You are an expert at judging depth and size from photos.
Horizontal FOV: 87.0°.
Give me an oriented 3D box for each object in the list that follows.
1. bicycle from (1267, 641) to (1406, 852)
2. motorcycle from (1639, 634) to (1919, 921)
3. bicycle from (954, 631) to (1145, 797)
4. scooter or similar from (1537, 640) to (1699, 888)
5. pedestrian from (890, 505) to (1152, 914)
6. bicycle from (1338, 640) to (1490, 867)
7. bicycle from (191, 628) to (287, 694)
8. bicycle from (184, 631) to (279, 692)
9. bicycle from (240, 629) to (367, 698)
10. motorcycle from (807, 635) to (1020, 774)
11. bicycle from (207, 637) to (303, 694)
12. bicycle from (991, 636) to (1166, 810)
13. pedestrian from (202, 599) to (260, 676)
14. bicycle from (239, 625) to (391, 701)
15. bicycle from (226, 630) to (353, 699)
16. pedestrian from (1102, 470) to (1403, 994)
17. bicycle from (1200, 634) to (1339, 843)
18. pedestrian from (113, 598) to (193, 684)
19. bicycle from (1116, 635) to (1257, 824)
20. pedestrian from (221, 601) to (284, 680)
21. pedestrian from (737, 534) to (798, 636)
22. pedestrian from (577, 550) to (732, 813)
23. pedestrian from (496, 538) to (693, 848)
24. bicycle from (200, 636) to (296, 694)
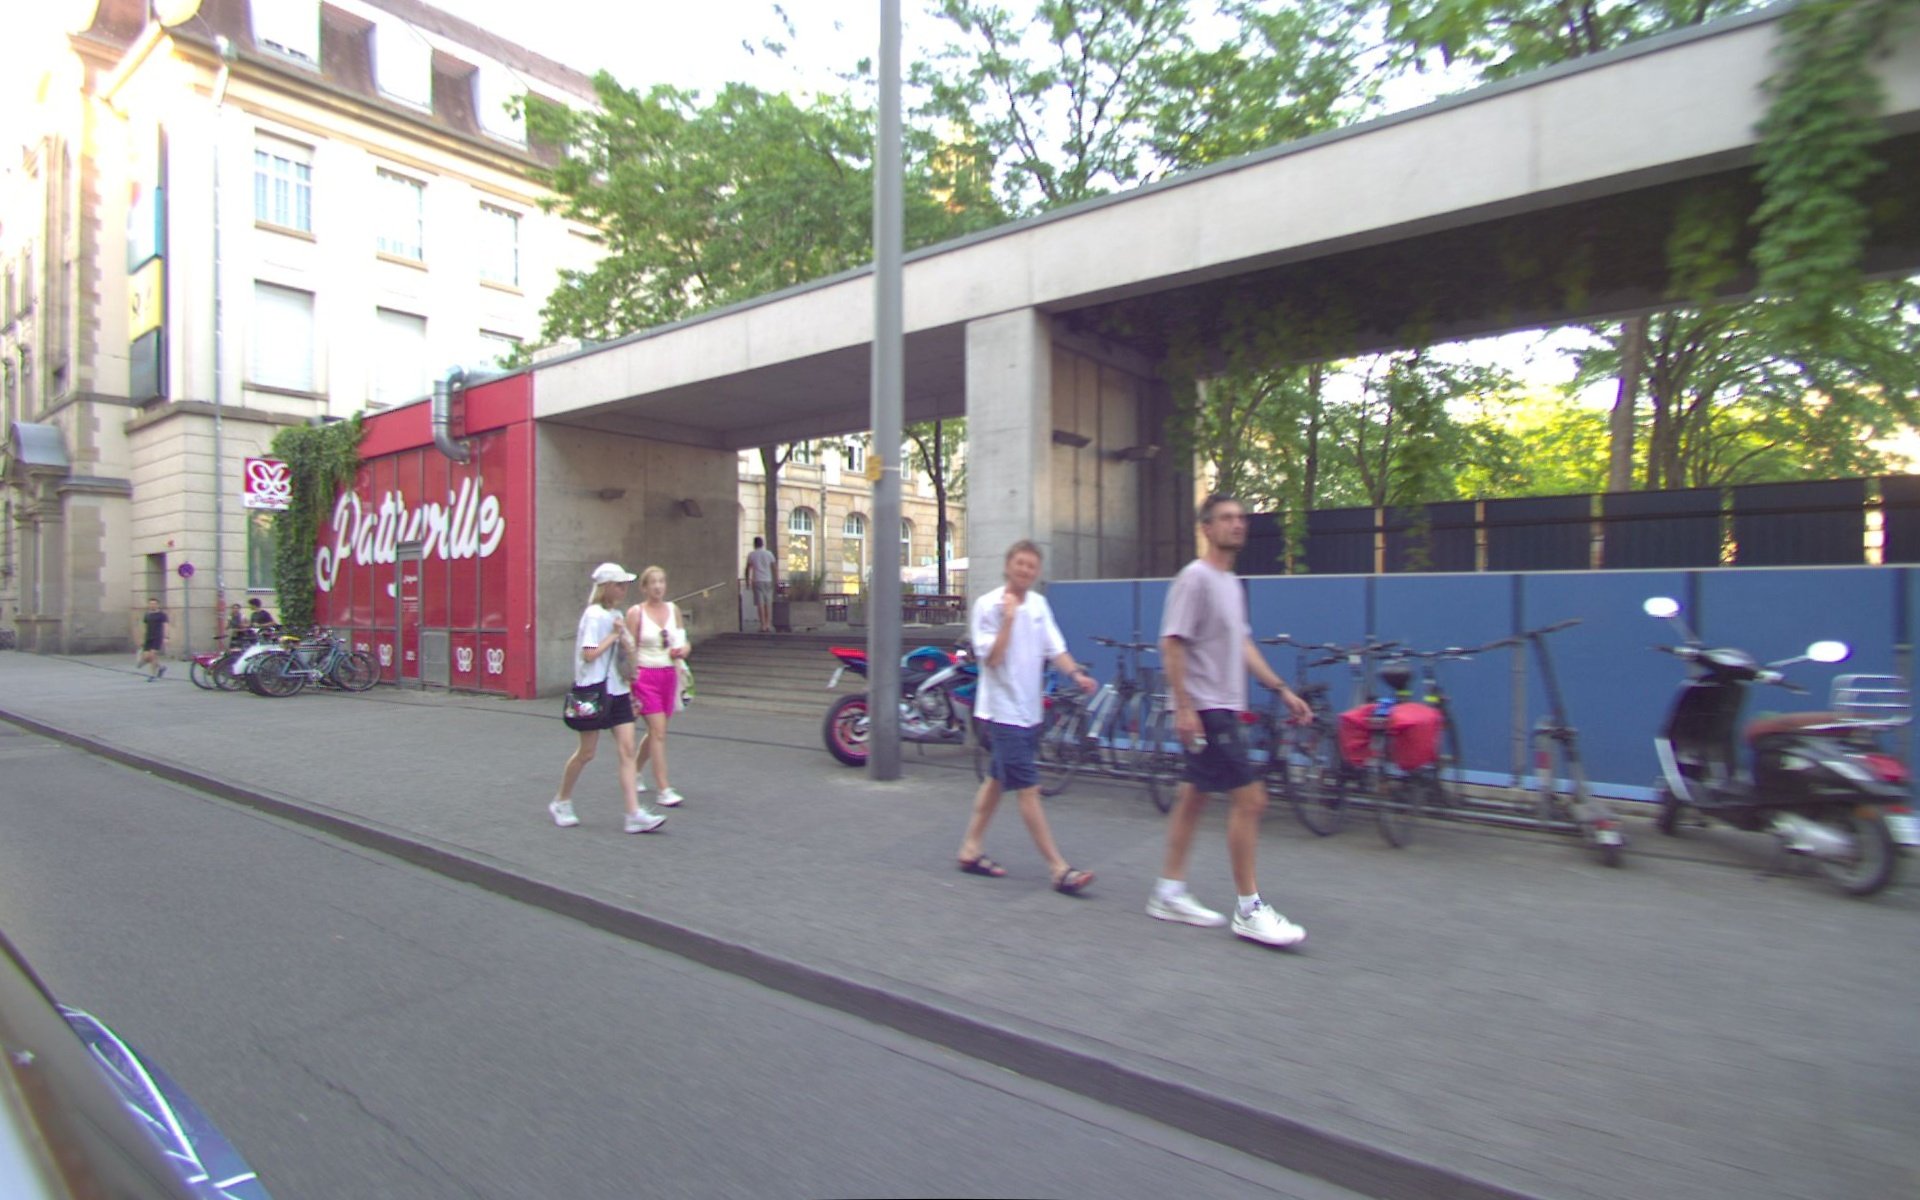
[{"bbox_3d":[2.366,0.832,6.274,0.441,1.077,1.480,-1,0,35],"label":"bicycle"},{"bbox_3d":[4.287,0.788,5.201,0.530,1.135,1.825,-1,0,7],"label":"motorcycle"},{"bbox_3d":[0.767,0.841,8.110,0.550,1.095,1.848,-1,0,40],"label":"bicycle"},{"bbox_3d":[3.553,0.806,5.559,0.408,1.096,1.487,-1,0,20],"label":"scooter or similar"},{"bbox_3d":[0.320,0.480,5.134,0.889,1.807,0.972,-1,0,40],"label":"pedestrian"},{"bbox_3d":[2.733,0.824,6.014,0.546,1.096,1.480,-1,0,35],"label":"bicycle"},{"bbox_3d":[-13.852,1.148,19.475,0.311,1.149,1.486,-1,0,30],"label":"bicycle"},{"bbox_3d":[-14.131,1.177,19.677,0.311,1.084,1.486,-1,0,30],"label":"bicycle"},{"bbox_3d":[-11.438,1.084,17.691,0.354,1.091,1.819,-1,0,44],"label":"bicycle"},{"bbox_3d":[-0.401,0.892,9.014,1.797,1.077,0.535,-1,0,-23],"label":"motorcycle"},{"bbox_3d":[-13.311,1.213,19.143,0.311,0.963,1.486,-1,0,30],"label":"bicycle"},{"bbox_3d":[0.904,0.847,7.452,1.475,1.096,0.436,-2,0,-45],"label":"bicycle"},{"bbox_3d":[-16.759,0.843,23.270,0.701,1.740,0.910,-1,0,34],"label":"pedestrian"},{"bbox_3d":[-11.113,1.056,17.510,0.446,1.164,2.151,-1,0,44],"label":"bicycle"},{"bbox_3d":[-11.834,1.108,17.918,0.354,1.091,1.819,-1,0,44],"label":"bicycle"},{"bbox_3d":[1.262,0.474,4.325,0.889,1.898,0.972,-1,0,40],"label":"pedestrian"},{"bbox_3d":[2.023,0.815,6.506,0.410,1.120,1.480,-1,0,35],"label":"bicycle"},{"bbox_3d":[-17.782,0.881,22.323,0.936,1.841,1.004,-1,0,12],"label":"pedestrian"},{"bbox_3d":[1.596,0.824,6.973,0.410,1.096,1.480,-1,0,35],"label":"bicycle"},{"bbox_3d":[-15.925,0.897,22.784,0.831,1.740,0.911,-1,0,31],"label":"pedestrian"},{"bbox_3d":[-3.614,-0.276,19.017,0.933,1.841,0.832,-1,0,2],"label":"pedestrian"},{"bbox_3d":[-2.255,0.555,7.490,0.736,1.807,0.801,-1,0,40],"label":"pedestrian"},{"bbox_3d":[-2.342,0.538,6.489,0.868,1.807,0.840,-1,0,40],"label":"pedestrian"},{"bbox_3d":[-13.567,1.220,19.320,0.311,0.986,1.486,-1,0,30],"label":"bicycle"}]
